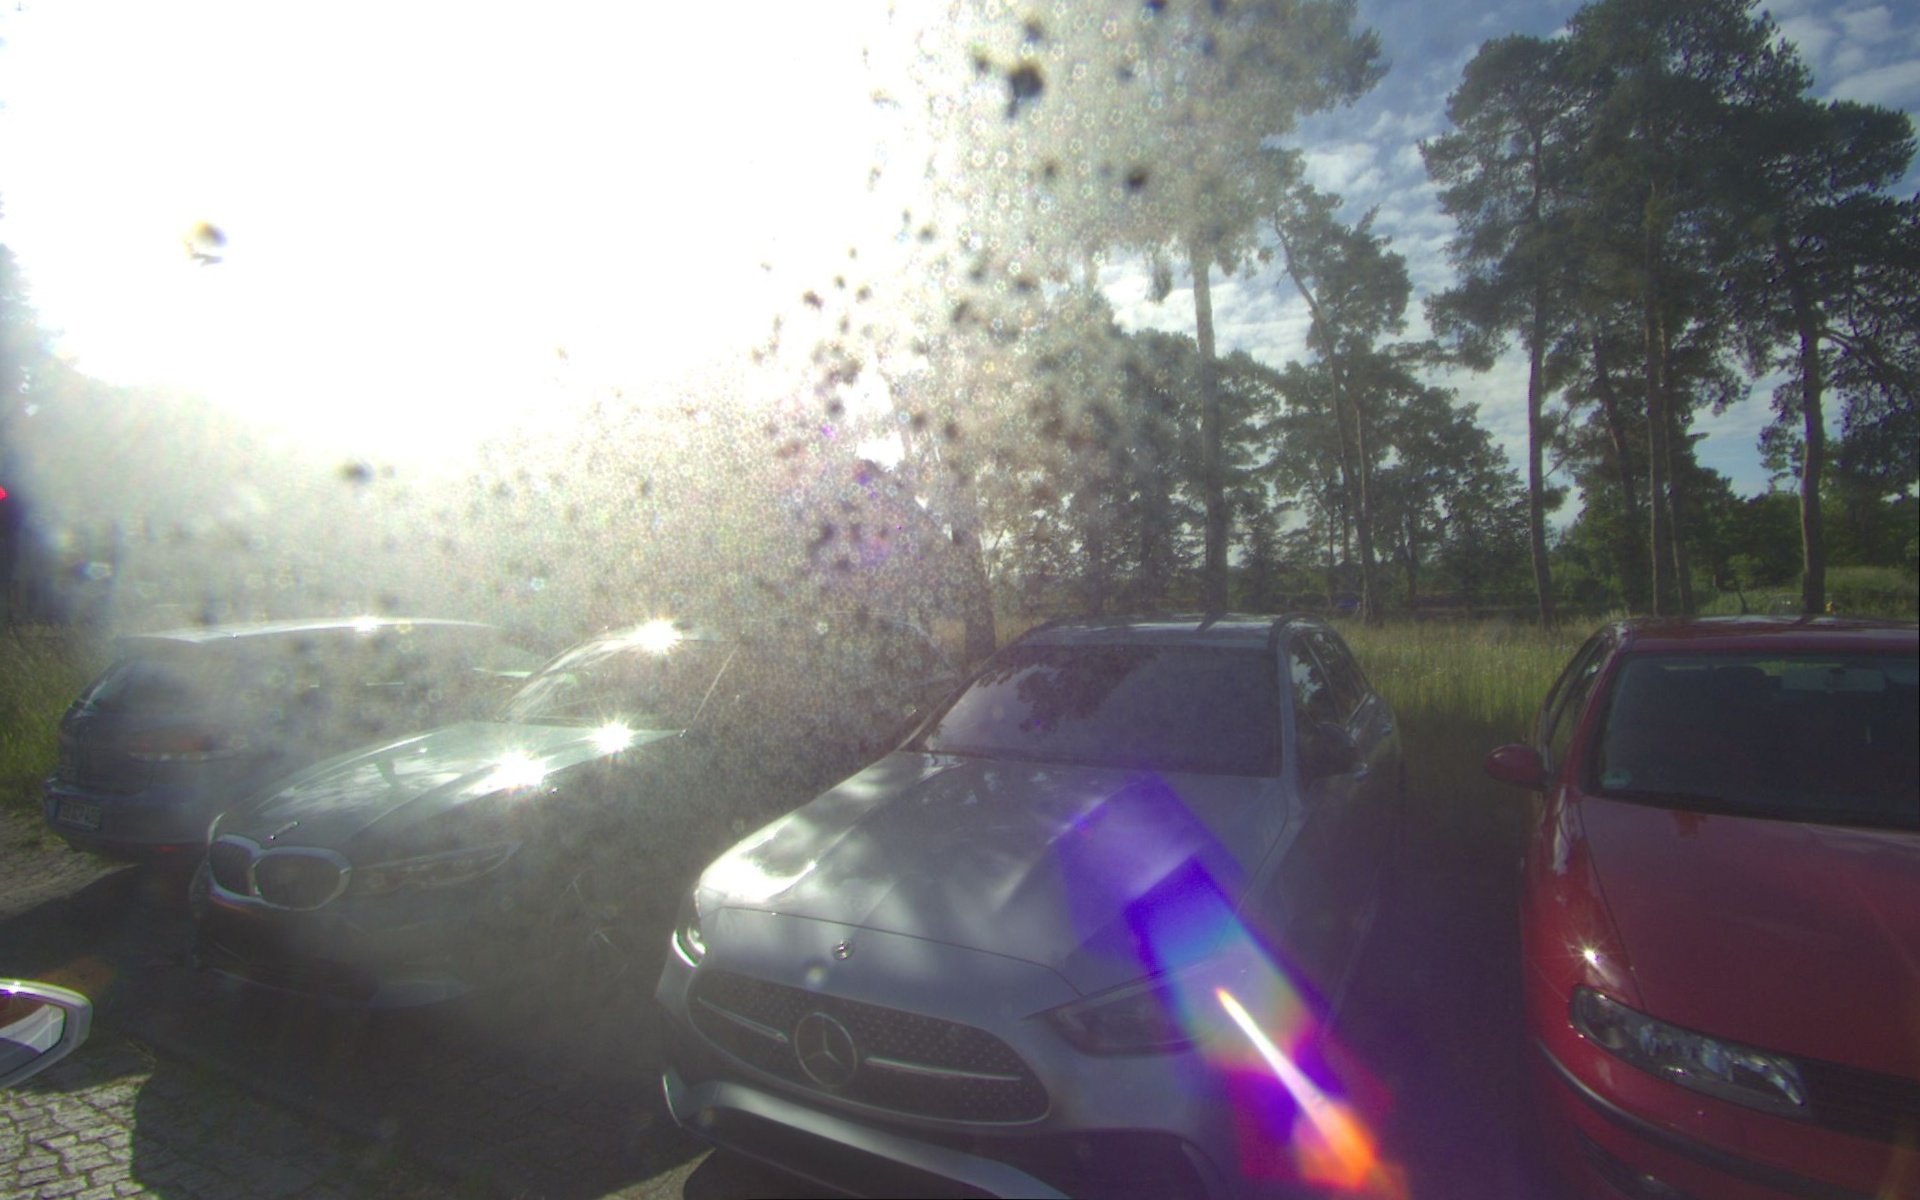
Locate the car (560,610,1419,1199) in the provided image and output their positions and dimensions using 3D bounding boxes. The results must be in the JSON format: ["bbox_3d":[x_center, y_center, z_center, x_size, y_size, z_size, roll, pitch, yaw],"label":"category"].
[{"bbox_3d":[0.777,0.810,4.132,1.761,1.407,4.394,0,1,28],"label":"car"}]

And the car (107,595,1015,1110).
[{"bbox_3d":[-1.474,0.788,5.585,1.840,1.475,4.614,0,2,27],"label":"car"}]

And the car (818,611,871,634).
[{"bbox_3d":[-7.943,1.524,69.198,1.741,1.517,3.629,0,0,32],"label":"car"}]

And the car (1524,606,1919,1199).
[{"bbox_3d":[2.780,0.789,3.225,1.630,1.468,3.974,0,0,29],"label":"car"}]

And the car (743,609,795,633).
[{"bbox_3d":[-14.009,1.533,73.539,1.741,1.693,3.629,0,0,32],"label":"car"}]

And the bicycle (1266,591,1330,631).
[{"bbox_3d":[18.334,0.589,54.345,3.084,2.040,0.949,-2,-1,29],"label":"bicycle"}]

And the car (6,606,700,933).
[{"bbox_3d":[-3.691,0.830,6.786,1.640,1.463,3.667,0,1,29],"label":"car"}]

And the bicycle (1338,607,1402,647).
[{"bbox_3d":[22.339,1.484,54.537,3.083,2.040,0.950,-2,-1,28],"label":"bicycle"}]
